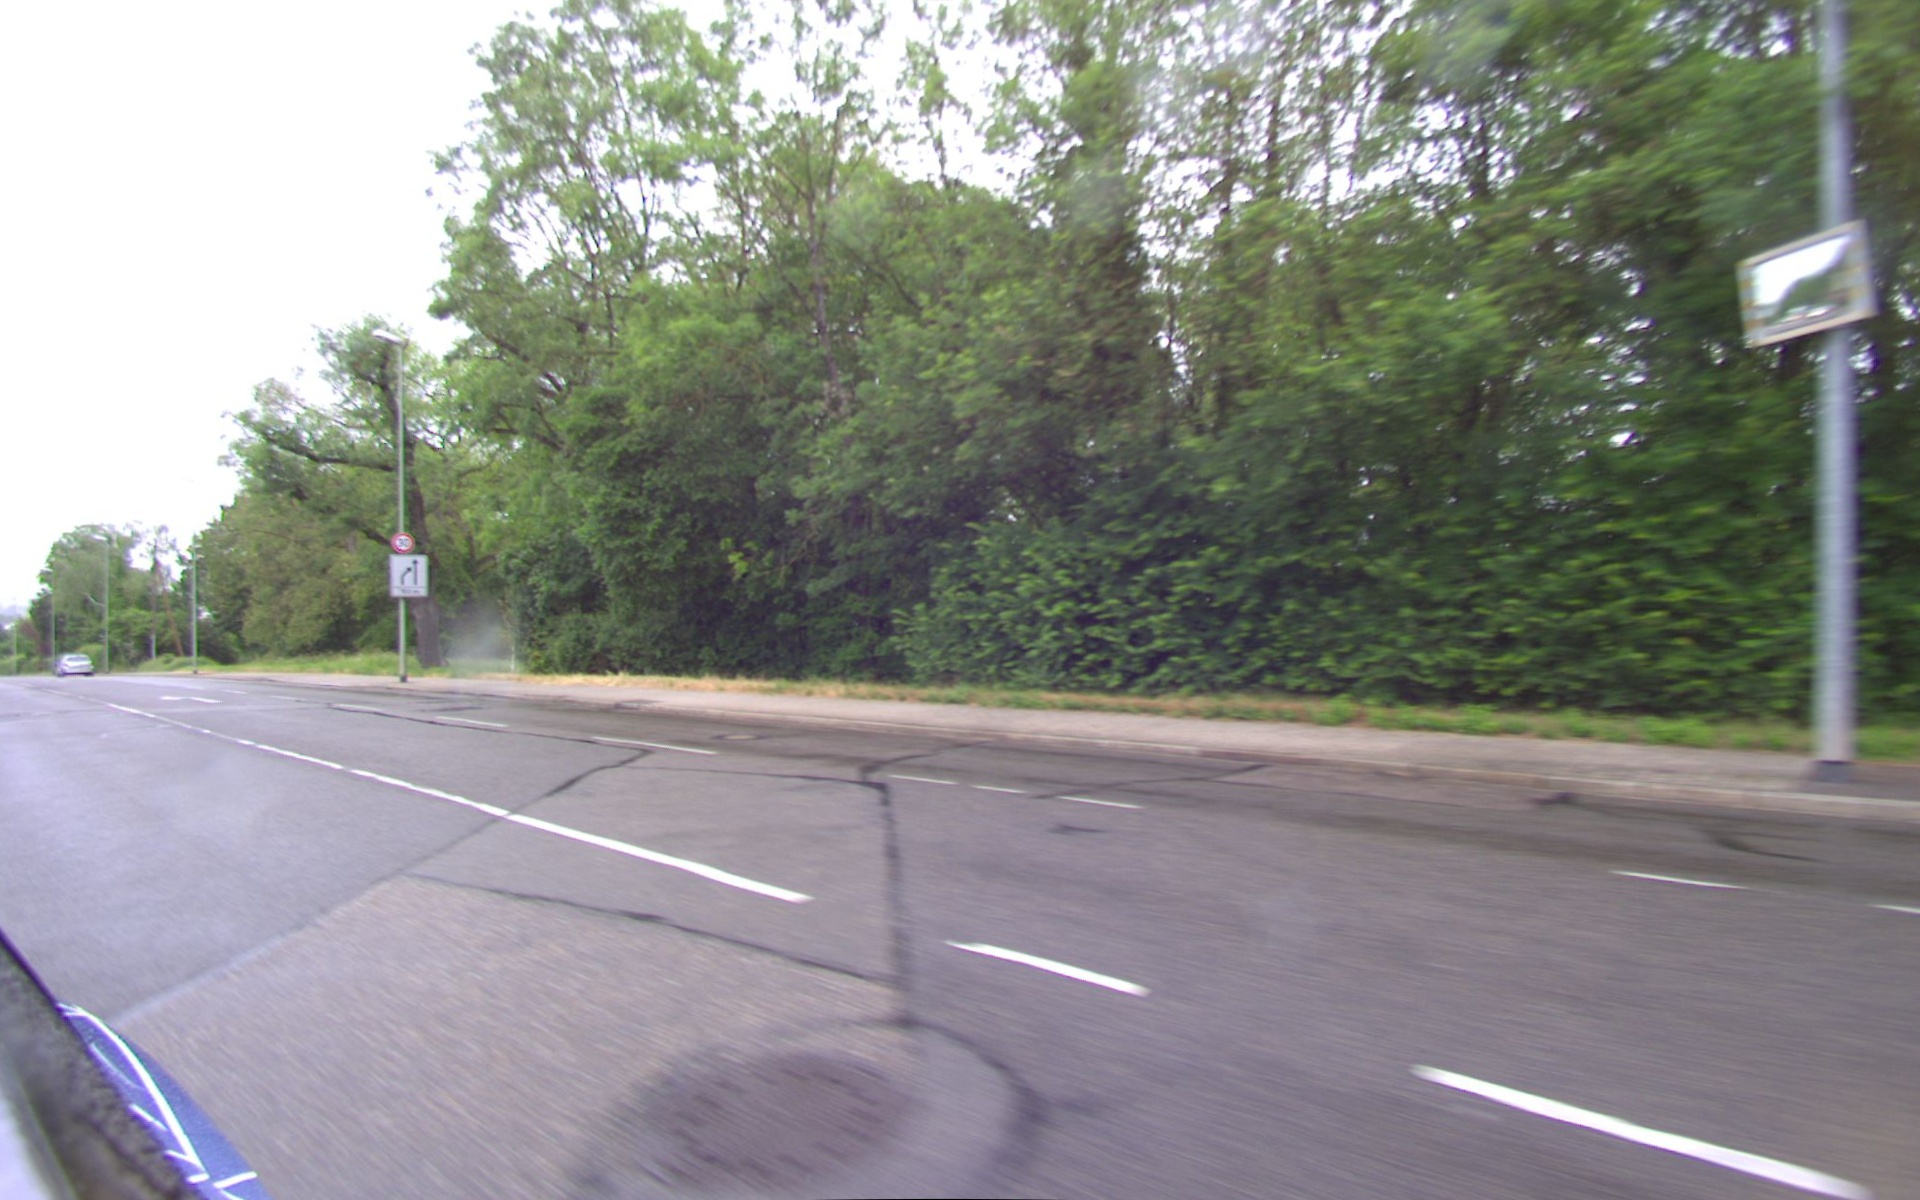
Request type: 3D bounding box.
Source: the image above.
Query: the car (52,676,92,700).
[{"bbox_3d":[-59.862,5.877,68.187,4.453,1.494,1.670,-4,-4,44],"label":"car"}]
